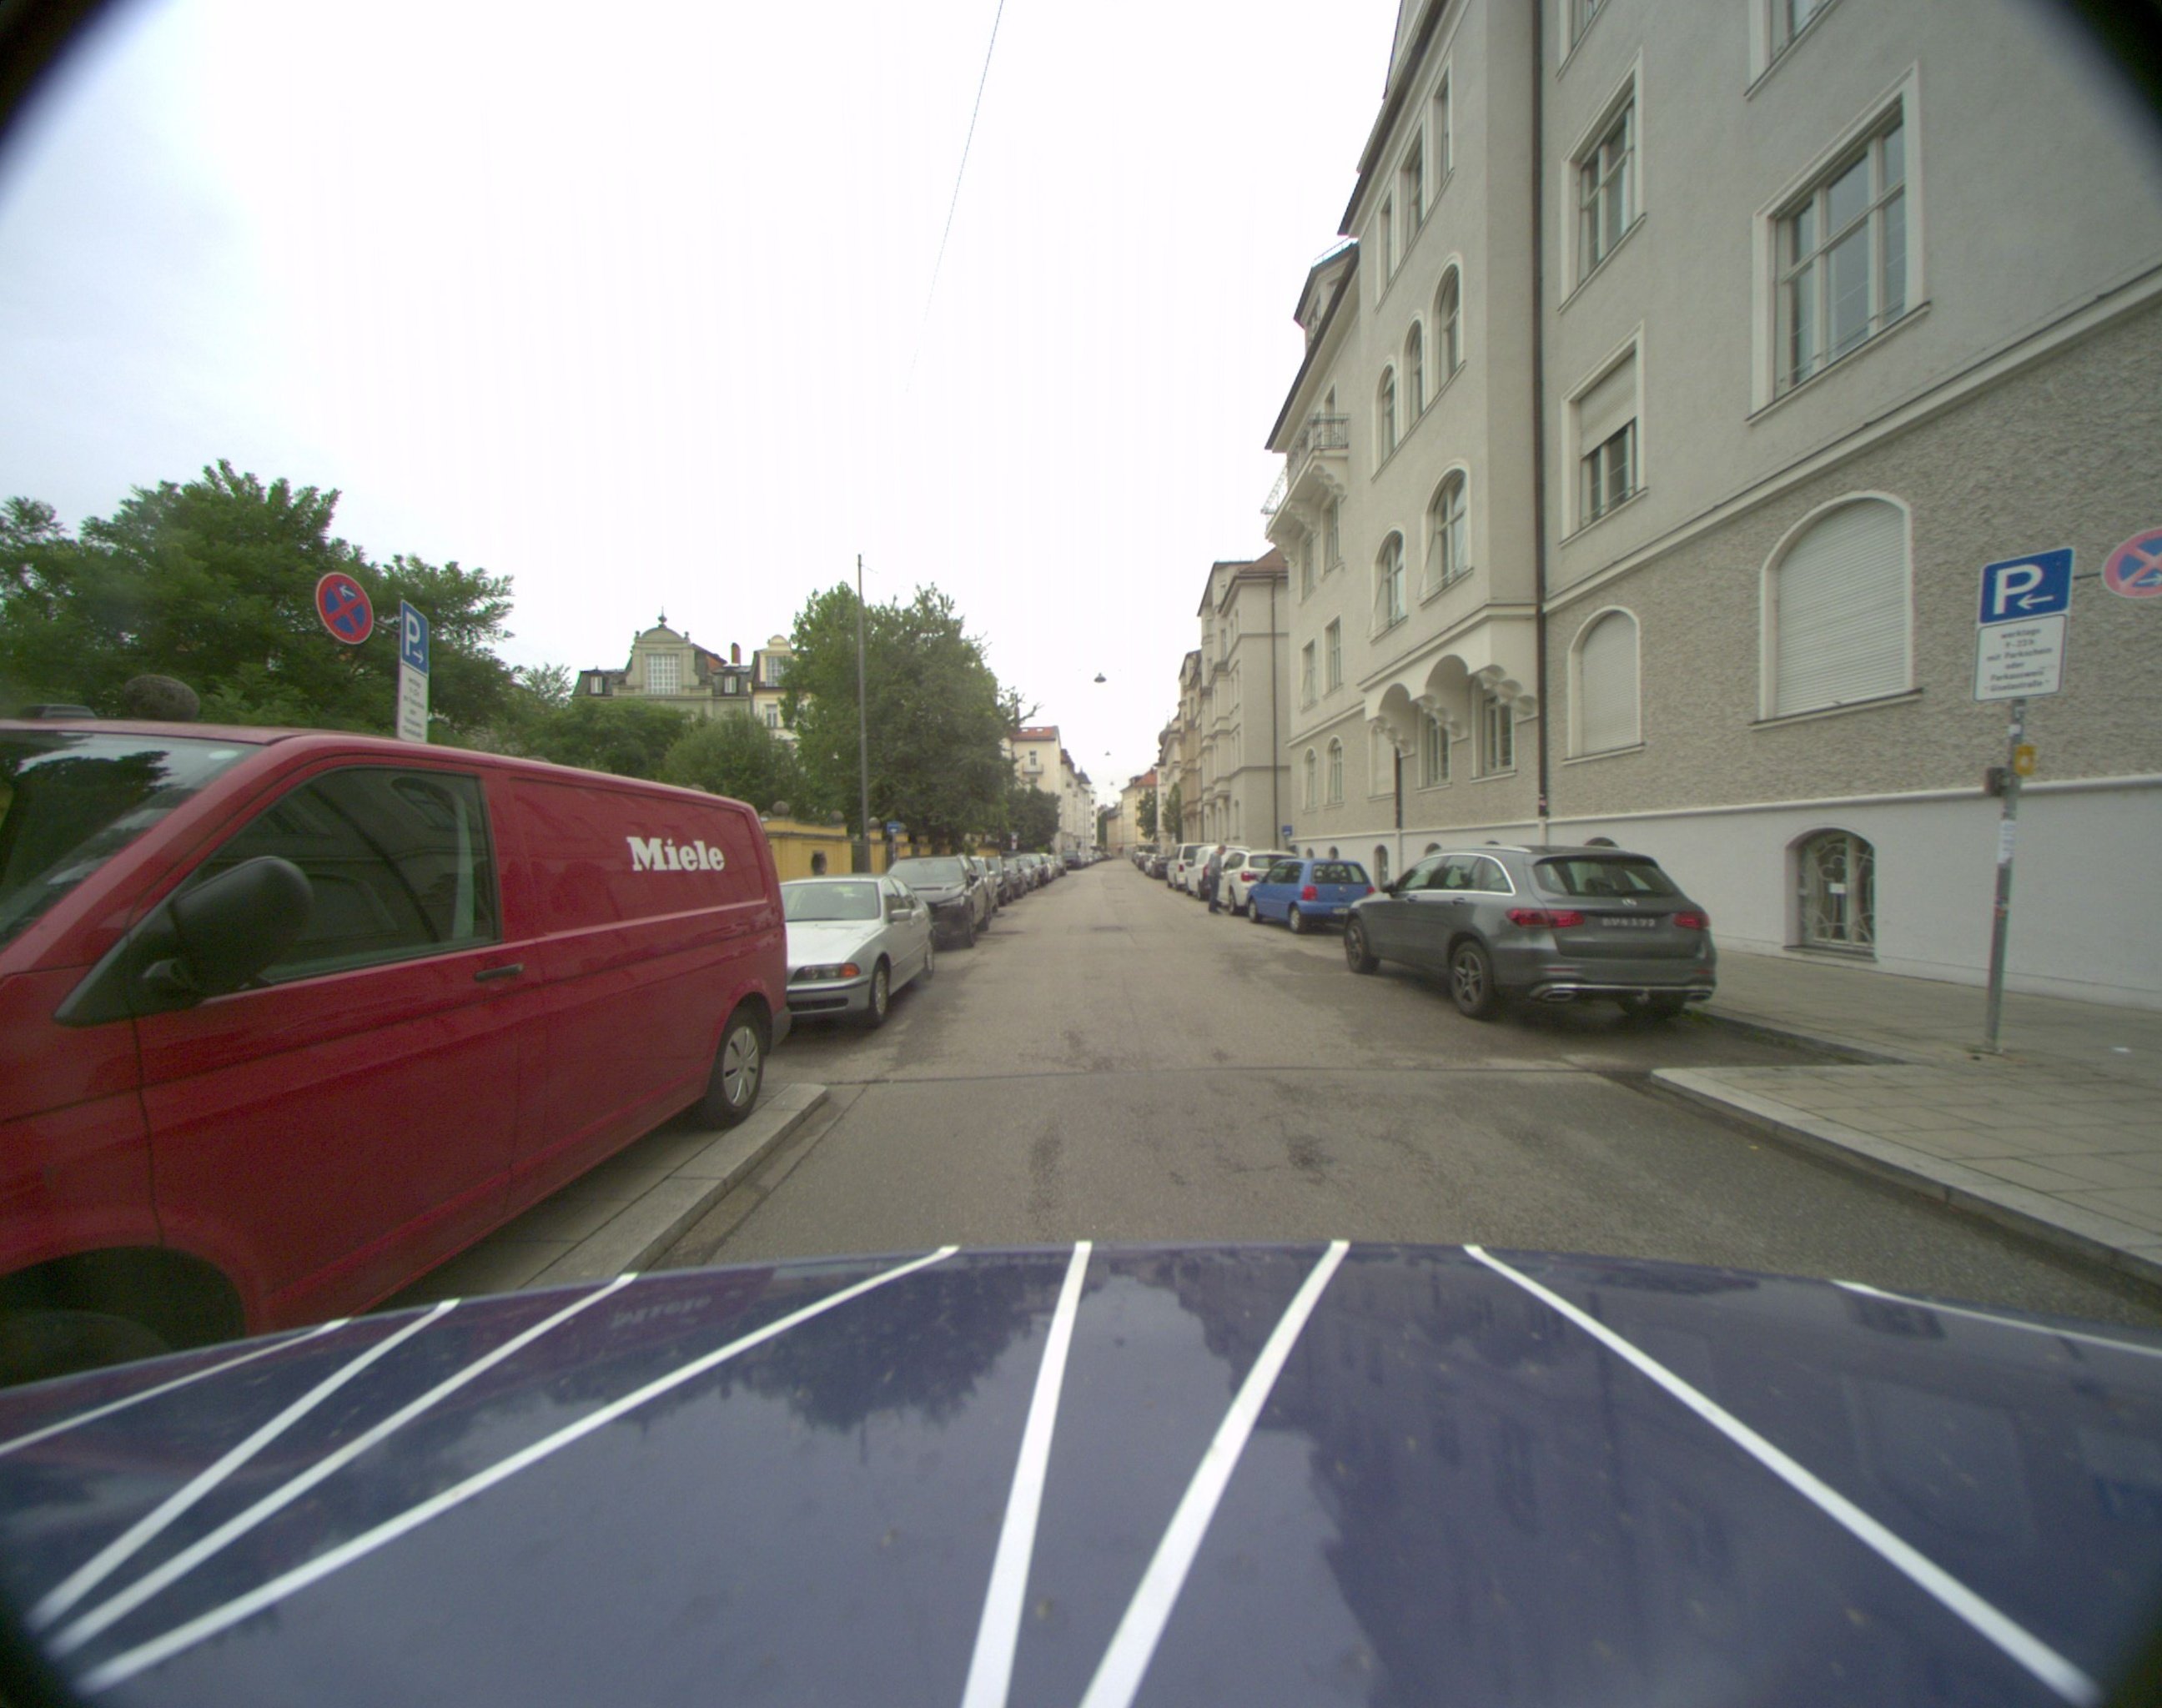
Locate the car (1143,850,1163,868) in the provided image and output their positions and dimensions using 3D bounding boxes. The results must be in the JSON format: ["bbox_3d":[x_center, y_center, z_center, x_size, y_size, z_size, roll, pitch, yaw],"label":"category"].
[{"bbox_3d":[6.220,0.413,66.084,1.626,1.448,3.942,0,1,3],"label":"car"}]

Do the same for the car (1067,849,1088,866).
[{"bbox_3d":[-0.337,0.408,81.587,1.998,1.643,4.448,-4,0,1],"label":"car"}]

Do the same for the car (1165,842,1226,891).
[{"bbox_3d":[4.761,0.470,32.321,1.860,1.927,4.957,0,1,0],"label":"car"}]

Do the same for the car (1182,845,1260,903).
[{"bbox_3d":[4.693,0.608,26.161,1.751,1.778,5.036,0,1,0],"label":"car"}]

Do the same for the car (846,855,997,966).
[{"bbox_3d":[-2.801,0.912,14.526,1.889,1.643,4.823,-3,0,-1],"label":"car"}]

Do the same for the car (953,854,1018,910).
[{"bbox_3d":[-2.933,0.821,23.840,1.511,1.557,2.869,-3,1,2],"label":"car"}]

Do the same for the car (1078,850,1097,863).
[{"bbox_3d":[0.895,0.305,98.719,1.998,1.585,4.300,-4,0,5],"label":"car"}]

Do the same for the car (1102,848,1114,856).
[{"bbox_3d":[5.616,-0.414,159.189,1.997,1.585,4.301,-4,0,8],"label":"car"}]

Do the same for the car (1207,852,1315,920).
[{"bbox_3d":[4.626,0.754,20.211,1.751,1.593,4.495,0,1,0],"label":"car"}]

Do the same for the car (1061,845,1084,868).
[{"bbox_3d":[-0.765,0.257,71.408,1.998,1.949,4.433,-4,0,1],"label":"car"}]

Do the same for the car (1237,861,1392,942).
[{"bbox_3d":[4.643,0.875,15.679,1.697,1.406,3.660,0,1,-7],"label":"car"}]

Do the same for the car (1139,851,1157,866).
[{"bbox_3d":[6.345,0.400,71.739,1.626,1.421,3.942,0,1,4],"label":"car"}]

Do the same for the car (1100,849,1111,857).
[{"bbox_3d":[5.005,-0.229,154.342,1.998,1.585,4.429,-4,0,6],"label":"car"}]

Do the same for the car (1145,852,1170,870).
[{"bbox_3d":[6.103,0.562,61.160,1.809,1.355,3.730,0,1,3],"label":"car"}]

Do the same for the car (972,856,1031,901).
[{"bbox_3d":[-2.825,0.832,27.839,1.696,1.406,4.036,-3,1,0],"label":"car"}]

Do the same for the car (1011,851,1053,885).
[{"bbox_3d":[-2.450,0.666,38.854,1.717,1.561,4.691,-1,1,1],"label":"car"}]

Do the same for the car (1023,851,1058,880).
[{"bbox_3d":[-2.317,0.615,44.143,1.717,1.561,4.320,-1,1,1],"label":"car"}]

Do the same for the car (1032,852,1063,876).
[{"bbox_3d":[-2.132,0.624,48.869,1.717,1.445,4.183,-1,1,1],"label":"car"}]

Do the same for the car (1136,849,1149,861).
[{"bbox_3d":[8.211,0.135,101.629,1.626,1.522,3.690,0,1,2],"label":"car"}]

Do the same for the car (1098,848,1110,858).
[{"bbox_3d":[4.503,-0.186,148.925,1.998,1.672,4.300,-4,0,6],"label":"car"}]

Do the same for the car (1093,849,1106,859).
[{"bbox_3d":[3.250,-0.004,134.235,1.998,1.585,4.300,-4,0,5],"label":"car"}]

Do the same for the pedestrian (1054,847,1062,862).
[{"bbox_3d":[-2.728,0.068,90.657,0.876,1.680,1.052,-1,1,2],"label":"pedestrian"}]

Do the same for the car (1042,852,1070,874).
[{"bbox_3d":[-1.745,0.586,53.609,1.717,1.445,4.955,-1,0,1],"label":"car"}]

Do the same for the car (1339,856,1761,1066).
[{"bbox_3d":[4.449,0.853,8.220,1.751,1.593,4.495,0,1,0],"label":"car"}]

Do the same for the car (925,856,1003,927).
[{"bbox_3d":[-2.895,0.869,19.409,1.488,1.530,3.691,-3,0,-2],"label":"car"}]

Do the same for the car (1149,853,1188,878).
[{"bbox_3d":[5.227,0.653,45.844,1.860,1.404,4.379,1,1,1],"label":"car"}]

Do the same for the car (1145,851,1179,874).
[{"bbox_3d":[5.401,0.552,50.899,1.860,1.455,4.379,0,1,1],"label":"car"}]

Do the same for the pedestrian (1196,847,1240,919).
[{"bbox_3d":[3.413,0.700,18.991,0.963,1.745,0.877,-1,1,3],"label":"pedestrian"}]

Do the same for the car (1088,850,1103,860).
[{"bbox_3d":[2.376,0.141,123.537,1.998,1.585,4.300,-4,0,5],"label":"car"}]

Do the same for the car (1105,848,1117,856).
[{"bbox_3d":[6.595,-0.449,168.017,1.997,1.585,4.301,-4,0,9],"label":"car"}]

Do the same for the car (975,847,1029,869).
[{"bbox_3d":[-6.920,0.395,67.076,4.678,1.860,1.742,-1,-2,-3],"label":"car"}]

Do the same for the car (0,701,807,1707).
[{"bbox_3d":[-2.824,0.710,2.692,1.878,1.909,4.887,-2,0,0],"label":"car"}]

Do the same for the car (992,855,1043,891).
[{"bbox_3d":[-2.659,0.763,32.824,1.696,1.406,4.516,-1,0,2],"label":"car"}]

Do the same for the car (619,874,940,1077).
[{"bbox_3d":[-2.875,1.055,8.431,1.889,1.440,4.367,-3,0,-2],"label":"car"}]

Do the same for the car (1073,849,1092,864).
[{"bbox_3d":[0.178,0.295,86.526,1.998,1.585,4.299,-4,0,1],"label":"car"}]
